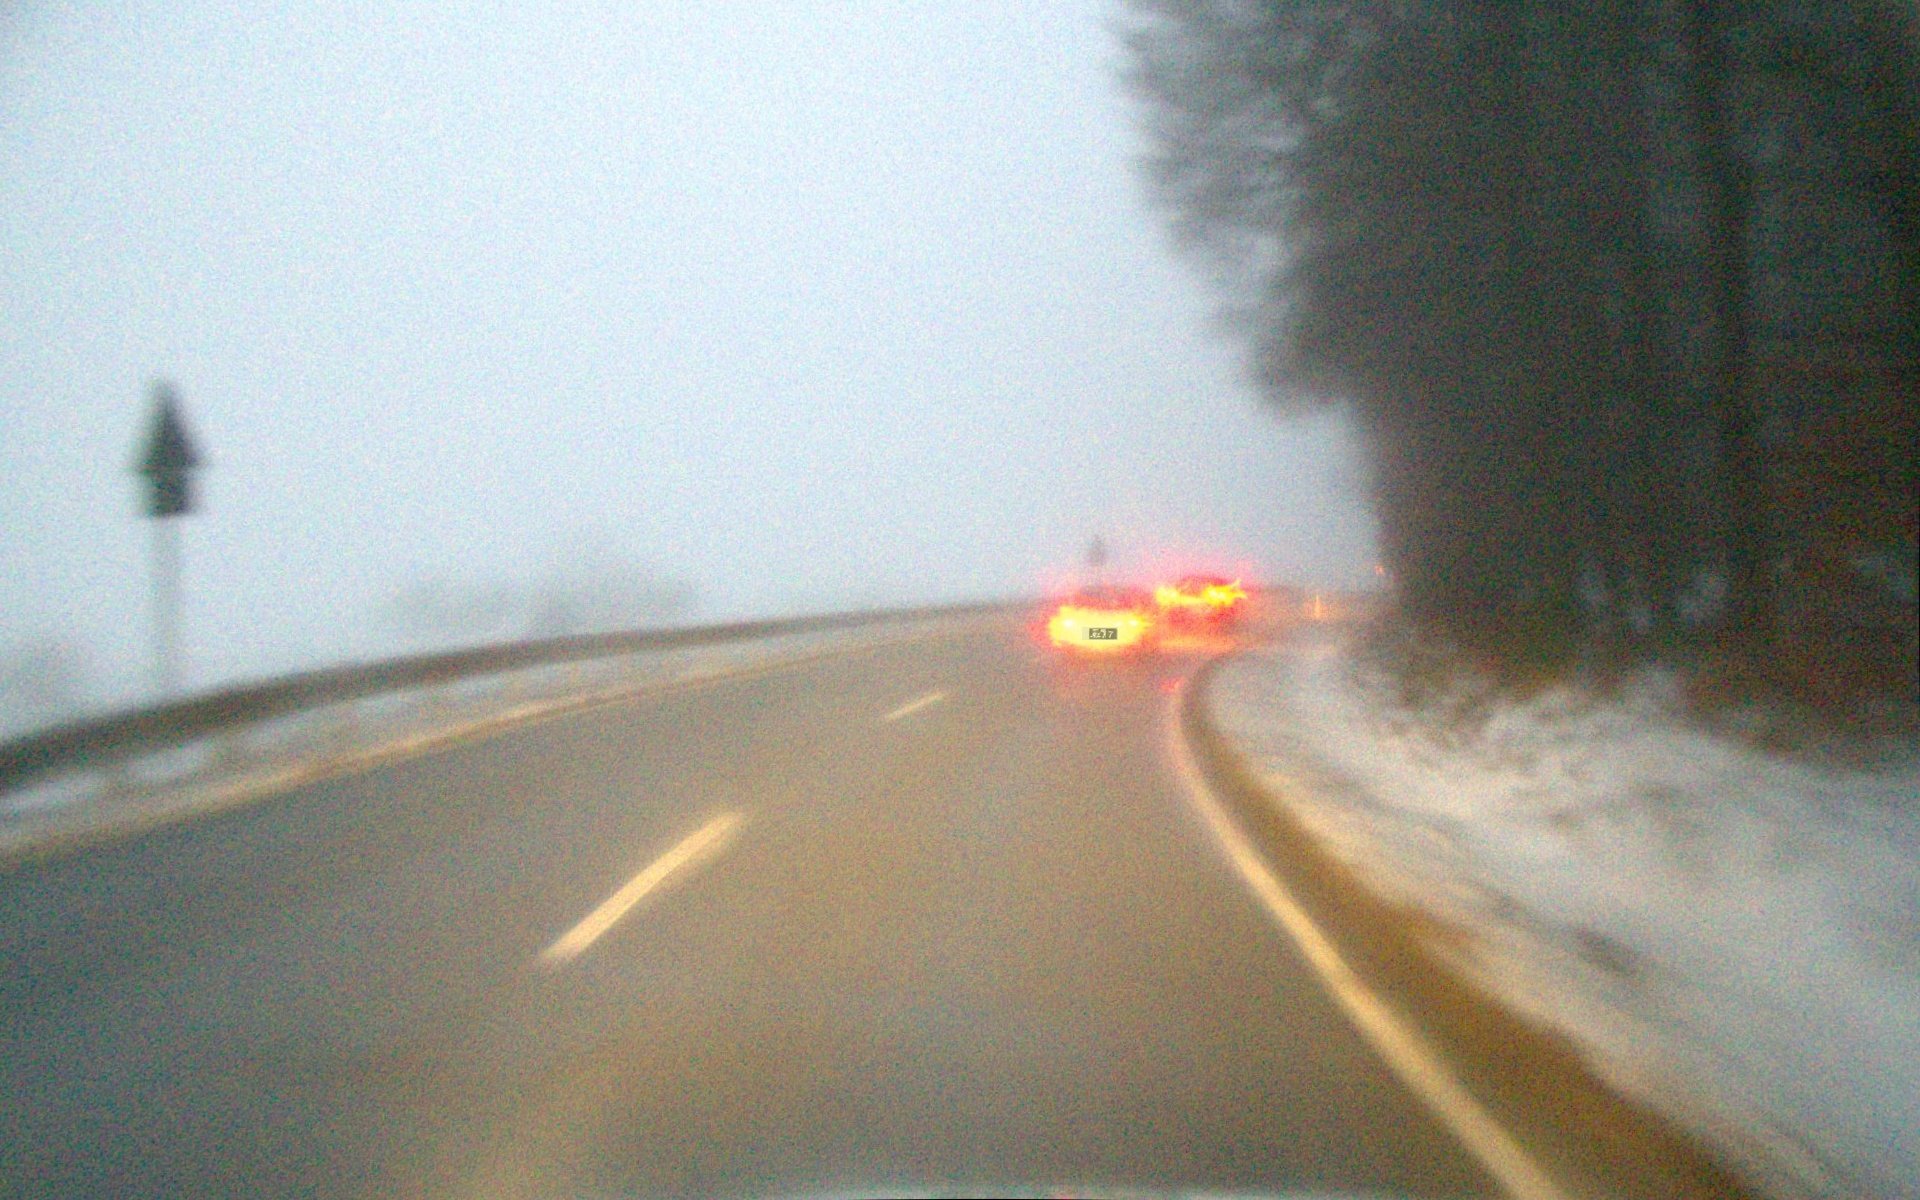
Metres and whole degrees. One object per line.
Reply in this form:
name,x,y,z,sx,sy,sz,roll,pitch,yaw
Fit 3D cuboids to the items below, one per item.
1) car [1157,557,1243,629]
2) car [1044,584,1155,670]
car,6.532,-0.217,44.736,1.951,1.814,4.004,-1,1,13
car,2.803,0.478,32.501,1.904,1.405,4.004,-3,2,8
